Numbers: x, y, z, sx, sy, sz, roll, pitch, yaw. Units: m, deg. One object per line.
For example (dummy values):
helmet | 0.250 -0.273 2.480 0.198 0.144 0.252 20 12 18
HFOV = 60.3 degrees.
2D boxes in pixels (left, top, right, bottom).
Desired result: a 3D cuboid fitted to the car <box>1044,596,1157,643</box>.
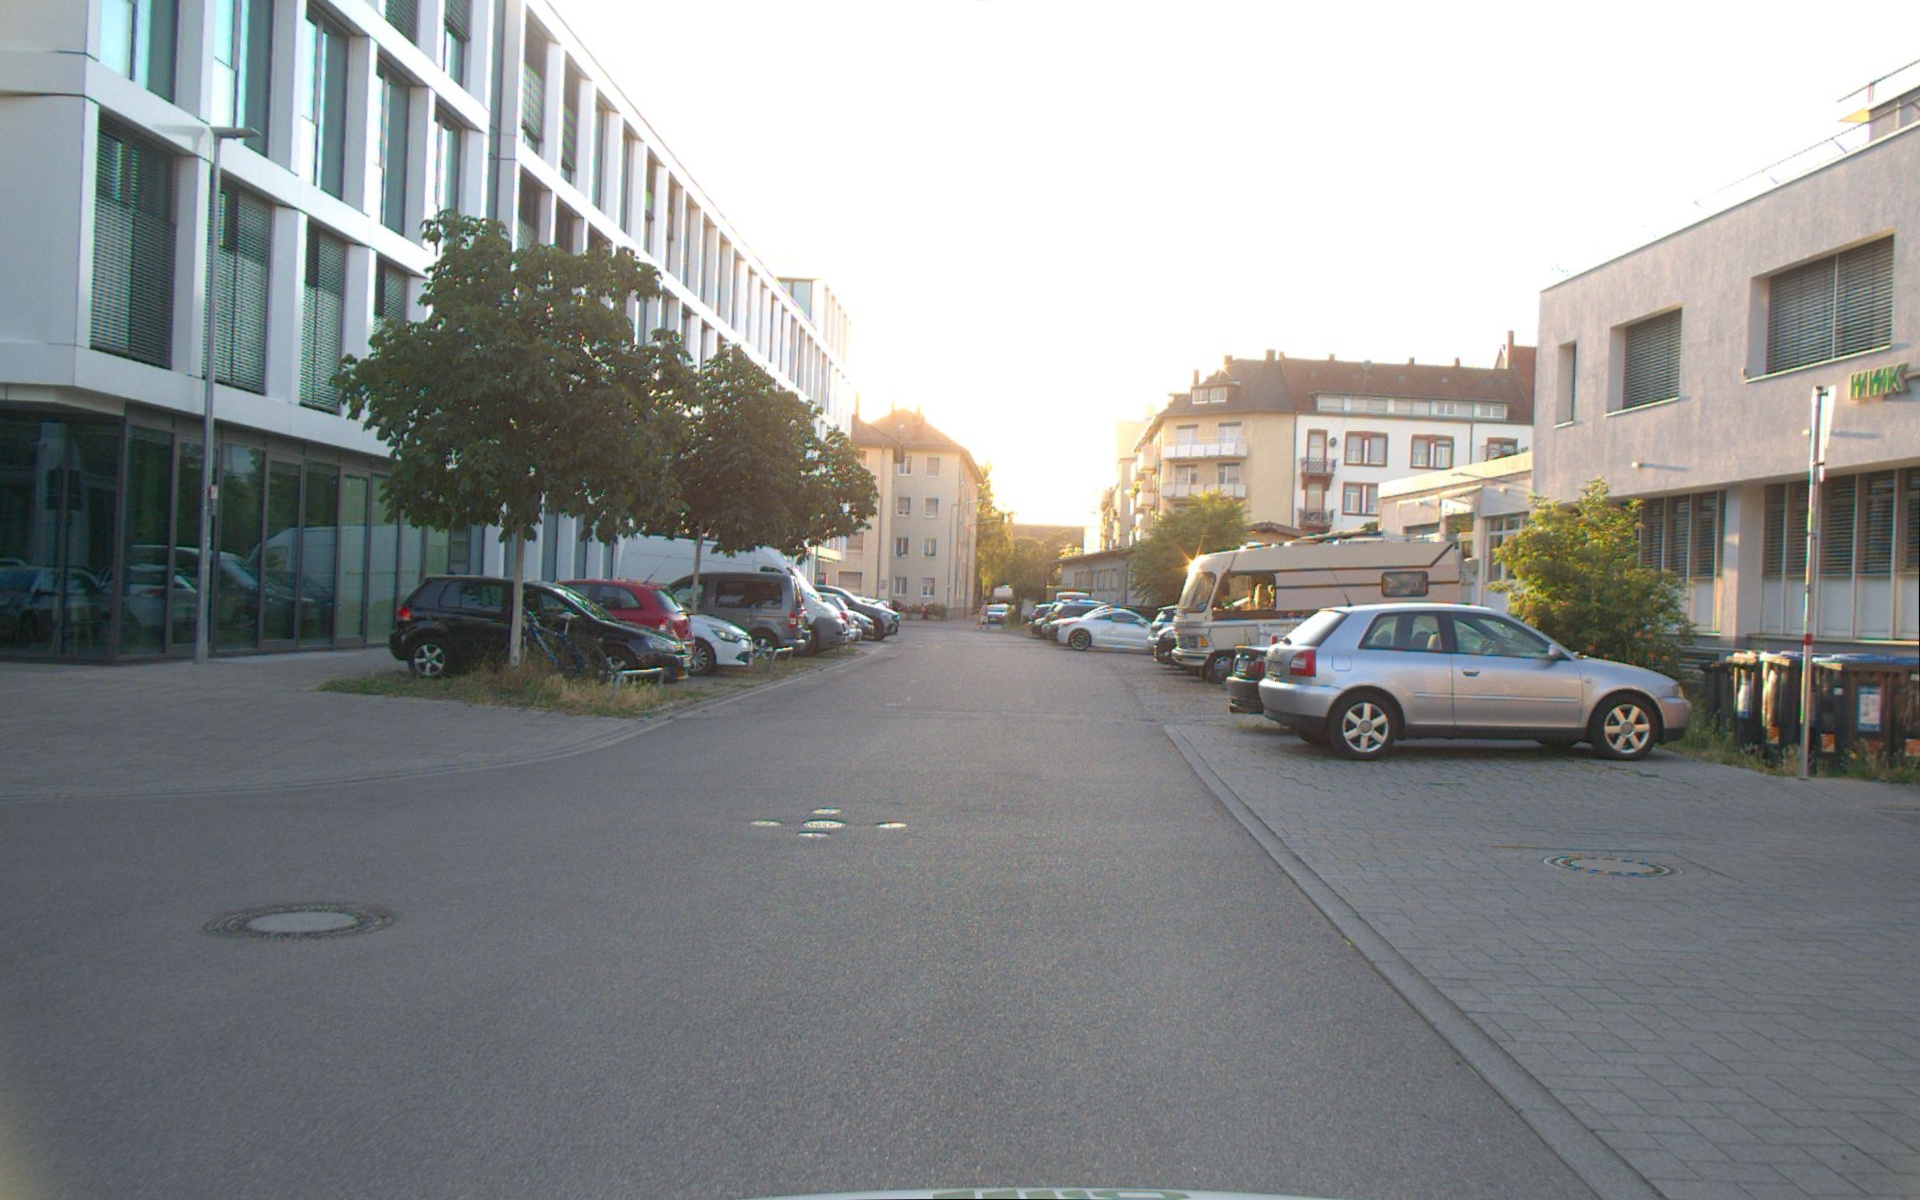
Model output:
car | 5.074 0.719 60.133 3.902 1.470 1.827 3 -1 0

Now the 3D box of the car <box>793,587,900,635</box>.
car | -4.108 0.396 60.034 3.590 1.537 1.697 3 0 5

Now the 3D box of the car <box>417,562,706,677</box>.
car | -6.230 0.291 26.182 4.024 1.545 1.845 3 0 1

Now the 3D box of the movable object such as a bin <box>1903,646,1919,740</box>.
movable object such as a bin | 10.014 0.956 16.889 0.457 0.948 0.526 1 -1 -2

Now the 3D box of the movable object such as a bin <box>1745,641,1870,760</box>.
movable object such as a bin | 7.858 0.920 15.355 0.742 1.039 0.710 2 0 -9

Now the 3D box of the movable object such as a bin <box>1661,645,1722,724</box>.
movable object such as a bin | 8.400 0.964 19.000 0.490 0.872 0.395 2 0 -9

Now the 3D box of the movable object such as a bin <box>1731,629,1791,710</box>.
movable object such as a bin | 9.743 0.839 20.118 0.457 0.948 0.526 1 -1 -2

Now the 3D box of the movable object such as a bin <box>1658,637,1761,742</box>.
movable object such as a bin | 7.844 0.928 17.328 0.692 1.039 0.710 2 0 -9

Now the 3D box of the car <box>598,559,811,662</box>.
car | -5.143 0.205 33.695 4.026 1.848 1.815 3 0 -3

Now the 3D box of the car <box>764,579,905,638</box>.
car | -4.298 0.285 57.285 4.522 1.736 2.005 3 0 5

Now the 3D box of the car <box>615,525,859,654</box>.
car | -5.184 -0.239 38.882 5.269 2.678 2.079 3 0 2

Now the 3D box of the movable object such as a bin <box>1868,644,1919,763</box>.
movable object such as a bin | 8.645 0.931 14.919 0.631 1.039 0.445 2 0 -9

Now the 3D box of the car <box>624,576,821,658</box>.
car | -5.125 0.360 36.125 4.026 1.525 1.774 3 0 -3

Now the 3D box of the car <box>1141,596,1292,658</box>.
car | 6.612 0.687 42.862 3.630 1.505 1.711 1 0 -2

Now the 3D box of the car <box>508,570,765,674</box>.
car | -5.557 0.362 28.778 4.024 1.545 1.781 3 0 1

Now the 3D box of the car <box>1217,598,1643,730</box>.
car | 5.168 0.691 18.563 4.228 1.357 1.895 1 -1 -3

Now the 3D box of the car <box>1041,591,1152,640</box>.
car | 5.143 0.583 62.723 3.905 1.647 1.826 3 0 -4

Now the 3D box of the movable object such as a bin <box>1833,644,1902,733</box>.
movable object such as a bin | 9.903 0.959 18.057 0.457 0.948 0.526 1 -1 -2

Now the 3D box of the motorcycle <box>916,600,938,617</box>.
motorcycle | -2.440 0.623 121.970 0.675 1.181 2.031 2 0 27

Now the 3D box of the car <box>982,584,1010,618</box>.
car | 3.686 0.134 169.262 2.565 3.326 7.699 0 0 3

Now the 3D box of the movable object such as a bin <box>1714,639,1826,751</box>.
movable object such as a bin | 7.957 0.923 16.270 0.692 1.039 0.710 2 0 -9

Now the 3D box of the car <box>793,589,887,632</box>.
car | -4.876 0.430 67.510 3.579 1.537 1.688 3 0 2

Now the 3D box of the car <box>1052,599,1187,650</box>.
car | 5.017 0.765 52.474 4.115 1.391 1.824 3 0 3

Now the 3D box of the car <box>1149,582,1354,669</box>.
car | 6.217 0.542 35.716 4.152 1.771 1.968 1 -1 3

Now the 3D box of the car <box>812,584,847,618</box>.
car | -8.078 0.046 102.706 1.761 2.014 4.688 2 0 -1

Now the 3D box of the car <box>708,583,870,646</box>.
car | -4.751 0.389 46.308 4.218 1.521 1.795 3 0 3

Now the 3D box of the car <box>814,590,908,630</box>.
car | -4.288 0.419 71.898 3.845 1.537 1.688 3 0 2

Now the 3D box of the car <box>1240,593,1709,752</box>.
car | 4.898 0.667 16.138 3.974 1.432 1.895 0 0 -3

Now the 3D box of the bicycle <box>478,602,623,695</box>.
bicycle | -5.260 0.611 21.277 1.661 1.084 0.566 3 0 2

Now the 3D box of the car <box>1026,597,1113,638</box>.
car | 4.789 0.763 72.679 3.682 1.562 1.892 3 1 1

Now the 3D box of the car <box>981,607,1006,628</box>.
car | 2.489 1.287 123.874 1.807 1.499 4.079 2 0 1

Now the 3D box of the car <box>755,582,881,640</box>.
car | -4.362 0.334 51.225 3.704 1.549 1.693 3 0 -1

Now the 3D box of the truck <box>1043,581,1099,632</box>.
truck | 5.108 0.309 76.804 2.055 2.239 5.710 2 0 -1

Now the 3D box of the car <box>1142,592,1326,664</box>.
car | 6.339 0.643 38.497 3.925 1.591 1.710 1 0 -5

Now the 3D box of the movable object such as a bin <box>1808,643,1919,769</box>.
movable object such as a bin | 7.971 0.919 14.505 0.631 1.039 0.710 2 0 -9

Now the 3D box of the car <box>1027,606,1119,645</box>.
car | 4.757 1.077 70.244 3.684 1.470 1.844 3 -1 -2

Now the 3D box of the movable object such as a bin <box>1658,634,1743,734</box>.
movable object such as a bin | 8.051 0.909 17.996 0.609 1.039 0.560 2 0 -9

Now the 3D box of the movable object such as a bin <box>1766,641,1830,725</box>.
movable object such as a bin | 9.745 0.961 19.245 0.457 0.948 0.526 1 -1 -2

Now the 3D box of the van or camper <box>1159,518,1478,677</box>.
van or camper | 6.915 -0.027 32.405 5.663 2.914 2.486 1 -1 -2

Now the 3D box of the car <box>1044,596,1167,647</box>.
car | 5.031 0.750 57.643 4.116 1.529 1.890 3 -1 1

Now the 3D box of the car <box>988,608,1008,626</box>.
car | 3.142 1.393 136.907 1.582 1.499 3.505 0 0 1

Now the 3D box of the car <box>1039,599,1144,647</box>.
car | 5.164 0.902 65.414 3.904 1.637 1.938 3 0 -2

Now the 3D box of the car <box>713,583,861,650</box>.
car | -4.518 0.423 43.622 3.632 1.521 1.708 3 0 1

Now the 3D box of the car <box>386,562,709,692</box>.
car | -5.737 0.365 23.369 4.024 1.545 1.845 3 0 0

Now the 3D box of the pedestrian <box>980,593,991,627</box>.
pedestrian | 1.587 0.631 102.509 0.561 2.049 0.557 2 0 3

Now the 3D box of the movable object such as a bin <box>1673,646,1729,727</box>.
movable object such as a bin | 8.268 0.959 18.455 0.406 0.872 0.395 2 0 -9

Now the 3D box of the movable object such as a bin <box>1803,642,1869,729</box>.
movable object such as a bin | 9.876 0.961 18.653 0.457 0.948 0.526 1 -1 -2
